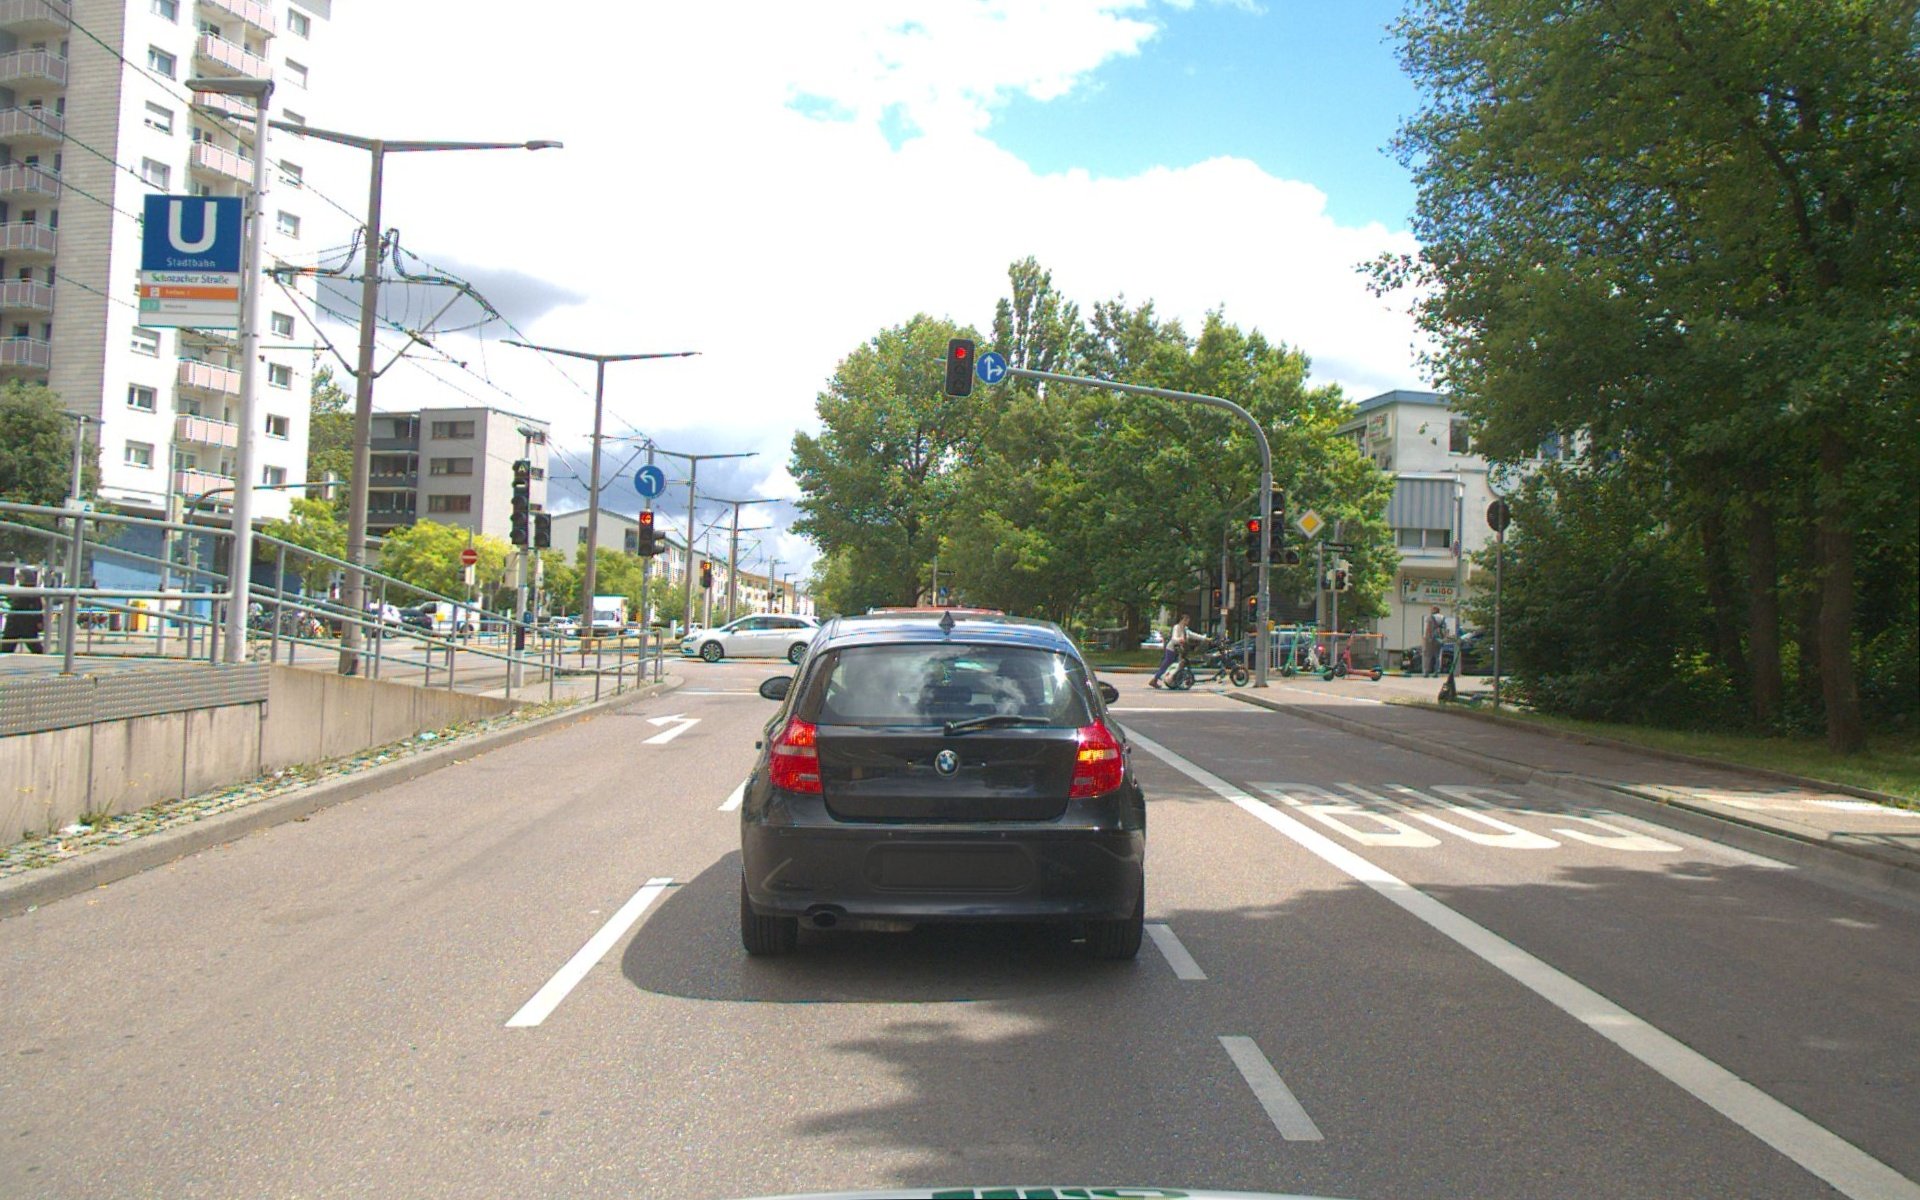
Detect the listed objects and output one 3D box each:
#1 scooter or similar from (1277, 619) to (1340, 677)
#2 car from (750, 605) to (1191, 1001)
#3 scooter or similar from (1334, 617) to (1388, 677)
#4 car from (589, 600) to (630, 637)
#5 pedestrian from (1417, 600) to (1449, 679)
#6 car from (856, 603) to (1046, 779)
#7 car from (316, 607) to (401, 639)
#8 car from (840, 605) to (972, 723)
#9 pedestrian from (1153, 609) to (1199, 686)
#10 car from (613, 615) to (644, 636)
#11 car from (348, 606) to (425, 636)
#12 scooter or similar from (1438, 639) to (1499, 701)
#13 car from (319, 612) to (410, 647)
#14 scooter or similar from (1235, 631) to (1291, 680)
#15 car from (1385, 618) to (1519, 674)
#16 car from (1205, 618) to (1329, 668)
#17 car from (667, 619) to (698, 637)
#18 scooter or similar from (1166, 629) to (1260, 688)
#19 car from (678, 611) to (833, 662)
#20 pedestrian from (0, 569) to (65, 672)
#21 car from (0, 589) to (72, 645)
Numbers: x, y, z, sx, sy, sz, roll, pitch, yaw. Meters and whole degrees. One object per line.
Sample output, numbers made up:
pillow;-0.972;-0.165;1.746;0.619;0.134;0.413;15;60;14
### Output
scooter or similar;7.353;1.007;34.915;1.267;1.210;0.383;1;0;-17
car;0.070;0.758;7.915;1.620;1.443;3.517;1;0;1
scooter or similar;8.663;1.014;35.739;1.087;1.280;0.331;1;0;-13
car;-26.423;1.373;124.851;2.096;2.686;5.356;1;0;-2
pedestrian;11.357;0.951;39.685;0.600;1.821;0.569;4;-1;18
car;-0.080;0.765;15.556;1.562;1.443;3.516;1;0;0
car;-28.789;1.113;79.211;3.537;1.488;1.613;1;0;-9
car;-0.742;0.806;22.386;1.621;1.443;3.515;1;0;-2
pedestrian;4.179;0.907;31.983;0.846;1.468;0.799;1;0;7
car;-27.639;2.119;137.972;1.927;1.624;3.997;1;0;-3
car;-29.854;1.102;86.163;3.537;1.488;1.613;1;0;-9
scooter or similar;9.380;1.286;30.507;1.133;1.118;0.329;1;-1;-25
car;-26.636;1.308;74.048;3.537;1.488;1.613;1;0;-9
scooter or similar;6.153;1.122;33.591;1.102;0.974;0.299;1;0;-17
car;14.922;1.382;50.229;3.515;1.629;1.706;1;-1;-13
car;9.694;1.352;52.284;3.537;1.488;1.613;1;0;-9
car;-26.411;2.689;157.519;1.925;1.624;4.003;1;0;6
scooter or similar;4.826;1.108;31.587;1.750;1.069;0.409;-1;0;-14
car;-6.210;1.098;50.156;4.554;1.506;1.995;1;0;-10
pedestrian;-15.170;0.334;27.053;0.623;1.661;0.703;0;0;23
car;-27.927;0.472;46.826;4.491;1.553;1.939;1;0;-12
